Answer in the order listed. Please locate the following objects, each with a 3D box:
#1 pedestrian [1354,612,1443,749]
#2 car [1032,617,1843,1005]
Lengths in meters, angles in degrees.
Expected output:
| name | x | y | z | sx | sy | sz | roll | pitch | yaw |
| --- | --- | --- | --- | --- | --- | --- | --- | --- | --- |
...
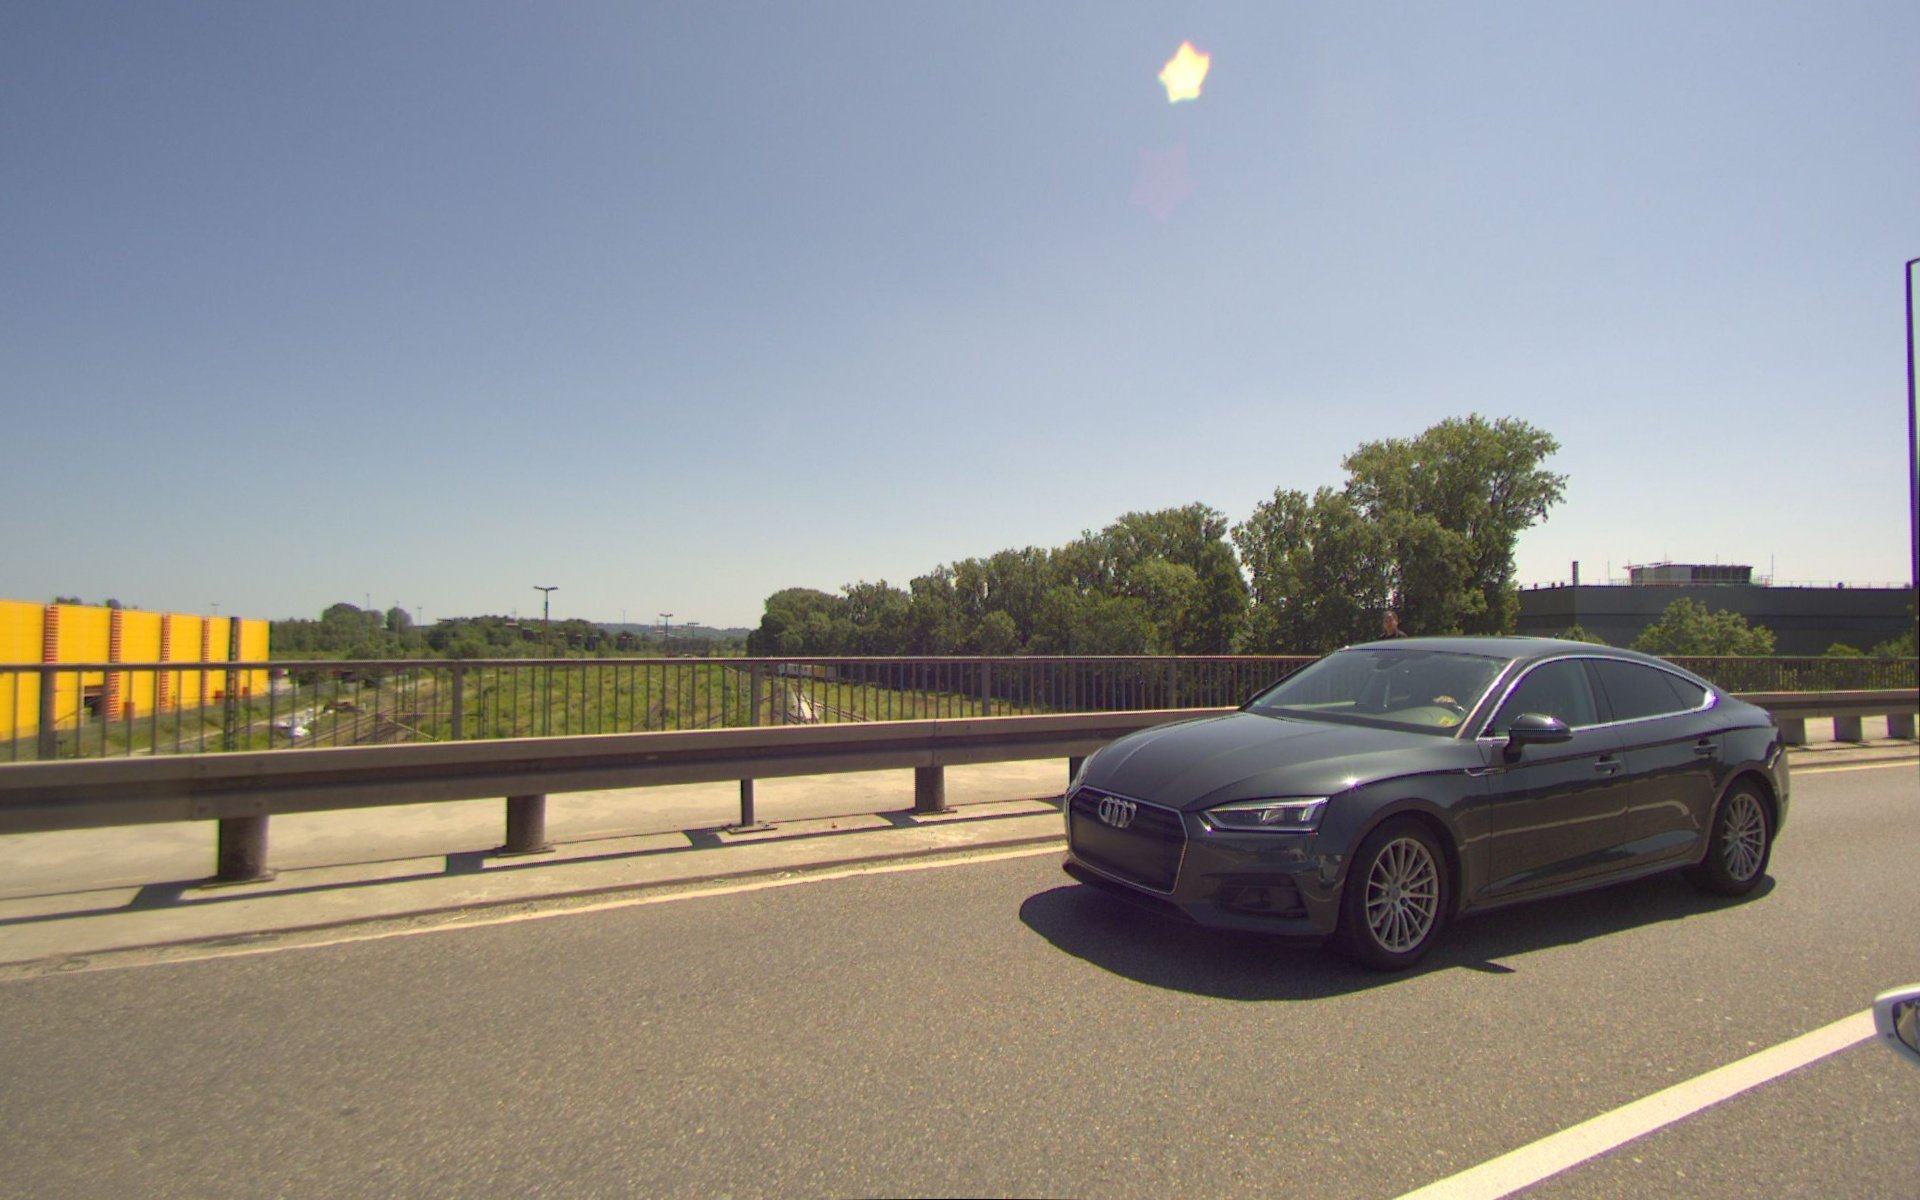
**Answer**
| name | x | y | z | sx | sy | sz | roll | pitch | yaw |
| --- | --- | --- | --- | --- | --- | --- | --- | --- | --- |
| pedestrian | 5.274 | 0.947 | 12.089 | 0.685 | 1.582 | 0.712 | 2 | -2 | -25 |
| car | 2.789 | 0.885 | 5.607 | 4.518 | 1.434 | 1.782 | 2 | -2 | -28 |
